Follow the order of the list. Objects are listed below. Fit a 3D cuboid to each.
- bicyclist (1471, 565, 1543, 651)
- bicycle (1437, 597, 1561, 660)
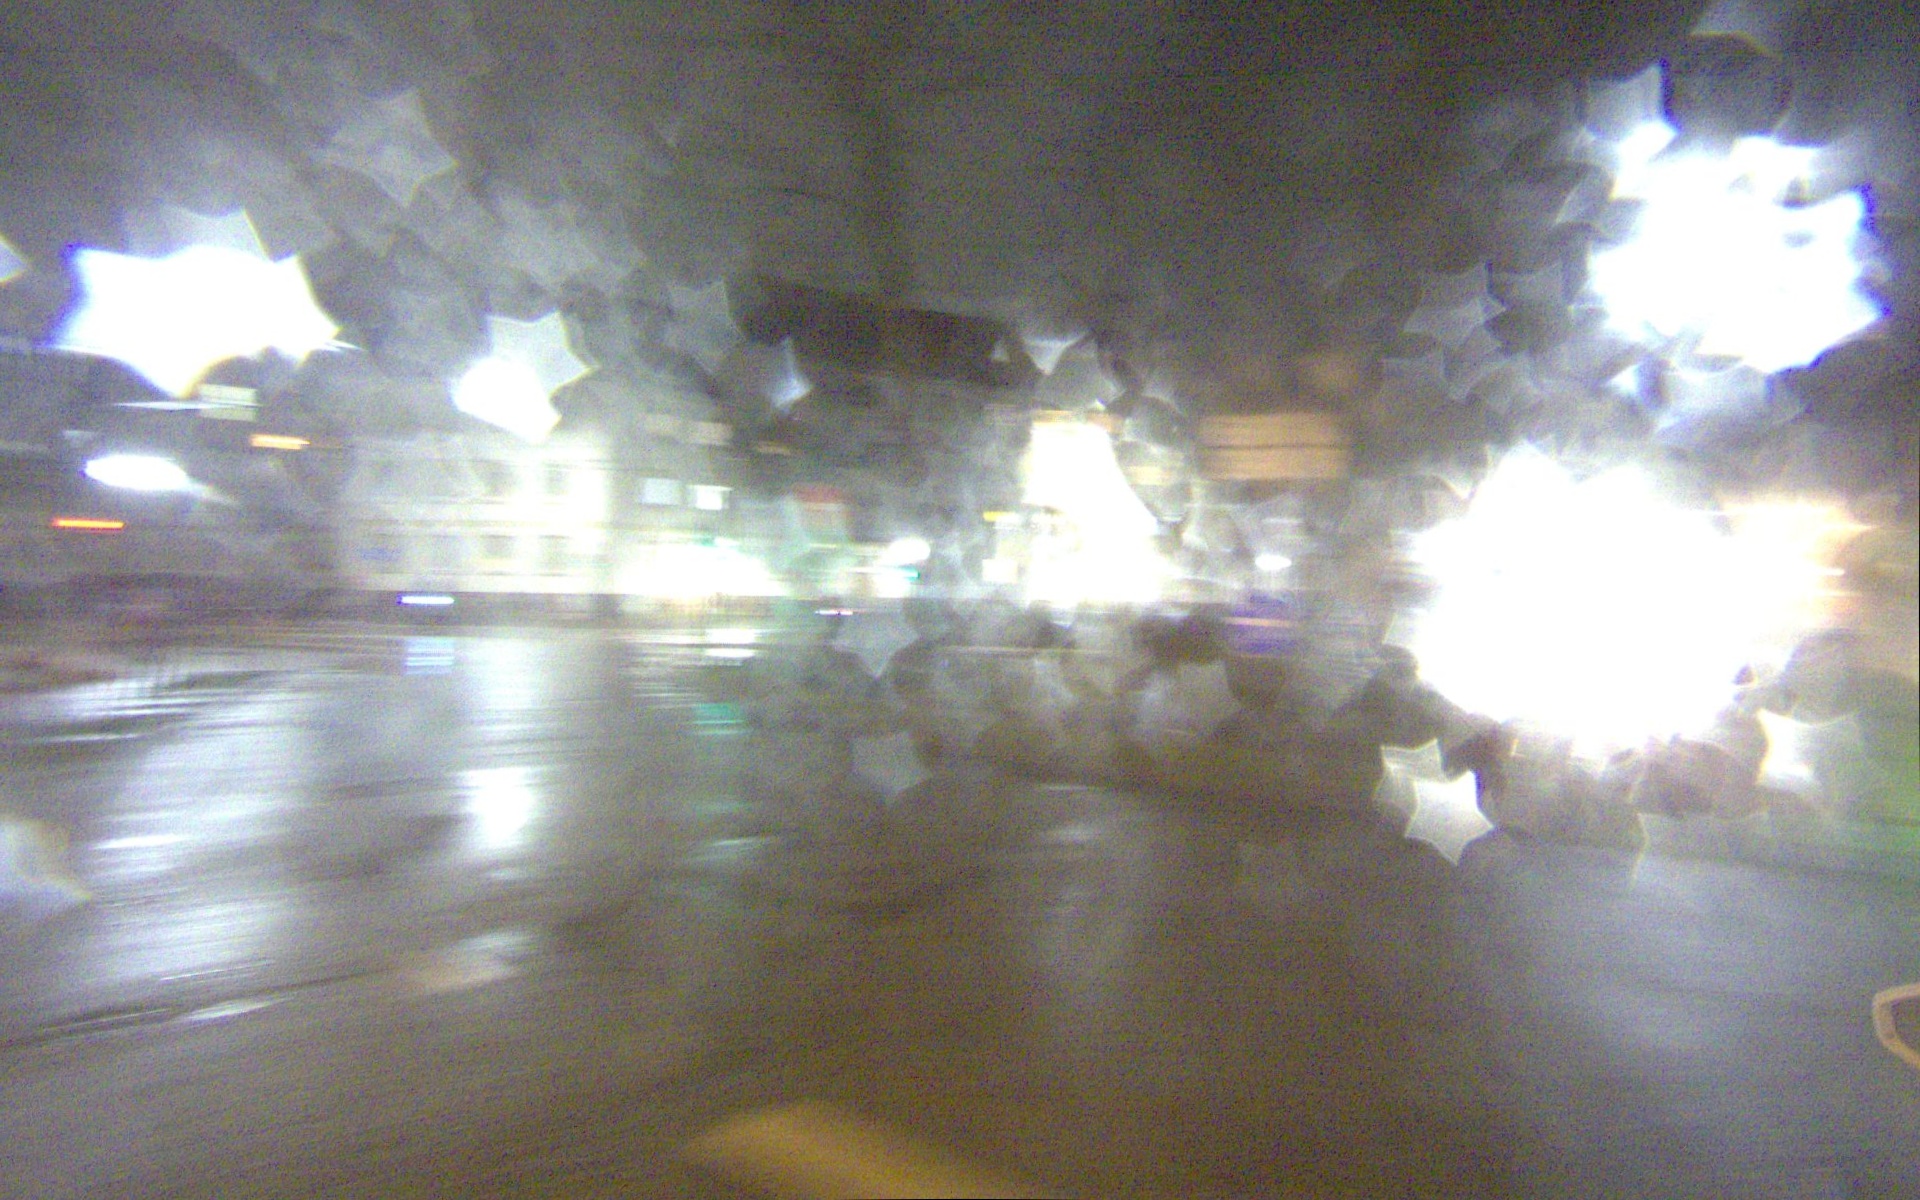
[{"bbox_3d":[9.374,0.132,17.246,0.876,1.398,0.505,4,2,9],"label":"bicyclist"},{"bbox_3d":[9.238,0.478,17.266,1.748,0.944,0.500,4,2,9],"label":"bicycle"}]
